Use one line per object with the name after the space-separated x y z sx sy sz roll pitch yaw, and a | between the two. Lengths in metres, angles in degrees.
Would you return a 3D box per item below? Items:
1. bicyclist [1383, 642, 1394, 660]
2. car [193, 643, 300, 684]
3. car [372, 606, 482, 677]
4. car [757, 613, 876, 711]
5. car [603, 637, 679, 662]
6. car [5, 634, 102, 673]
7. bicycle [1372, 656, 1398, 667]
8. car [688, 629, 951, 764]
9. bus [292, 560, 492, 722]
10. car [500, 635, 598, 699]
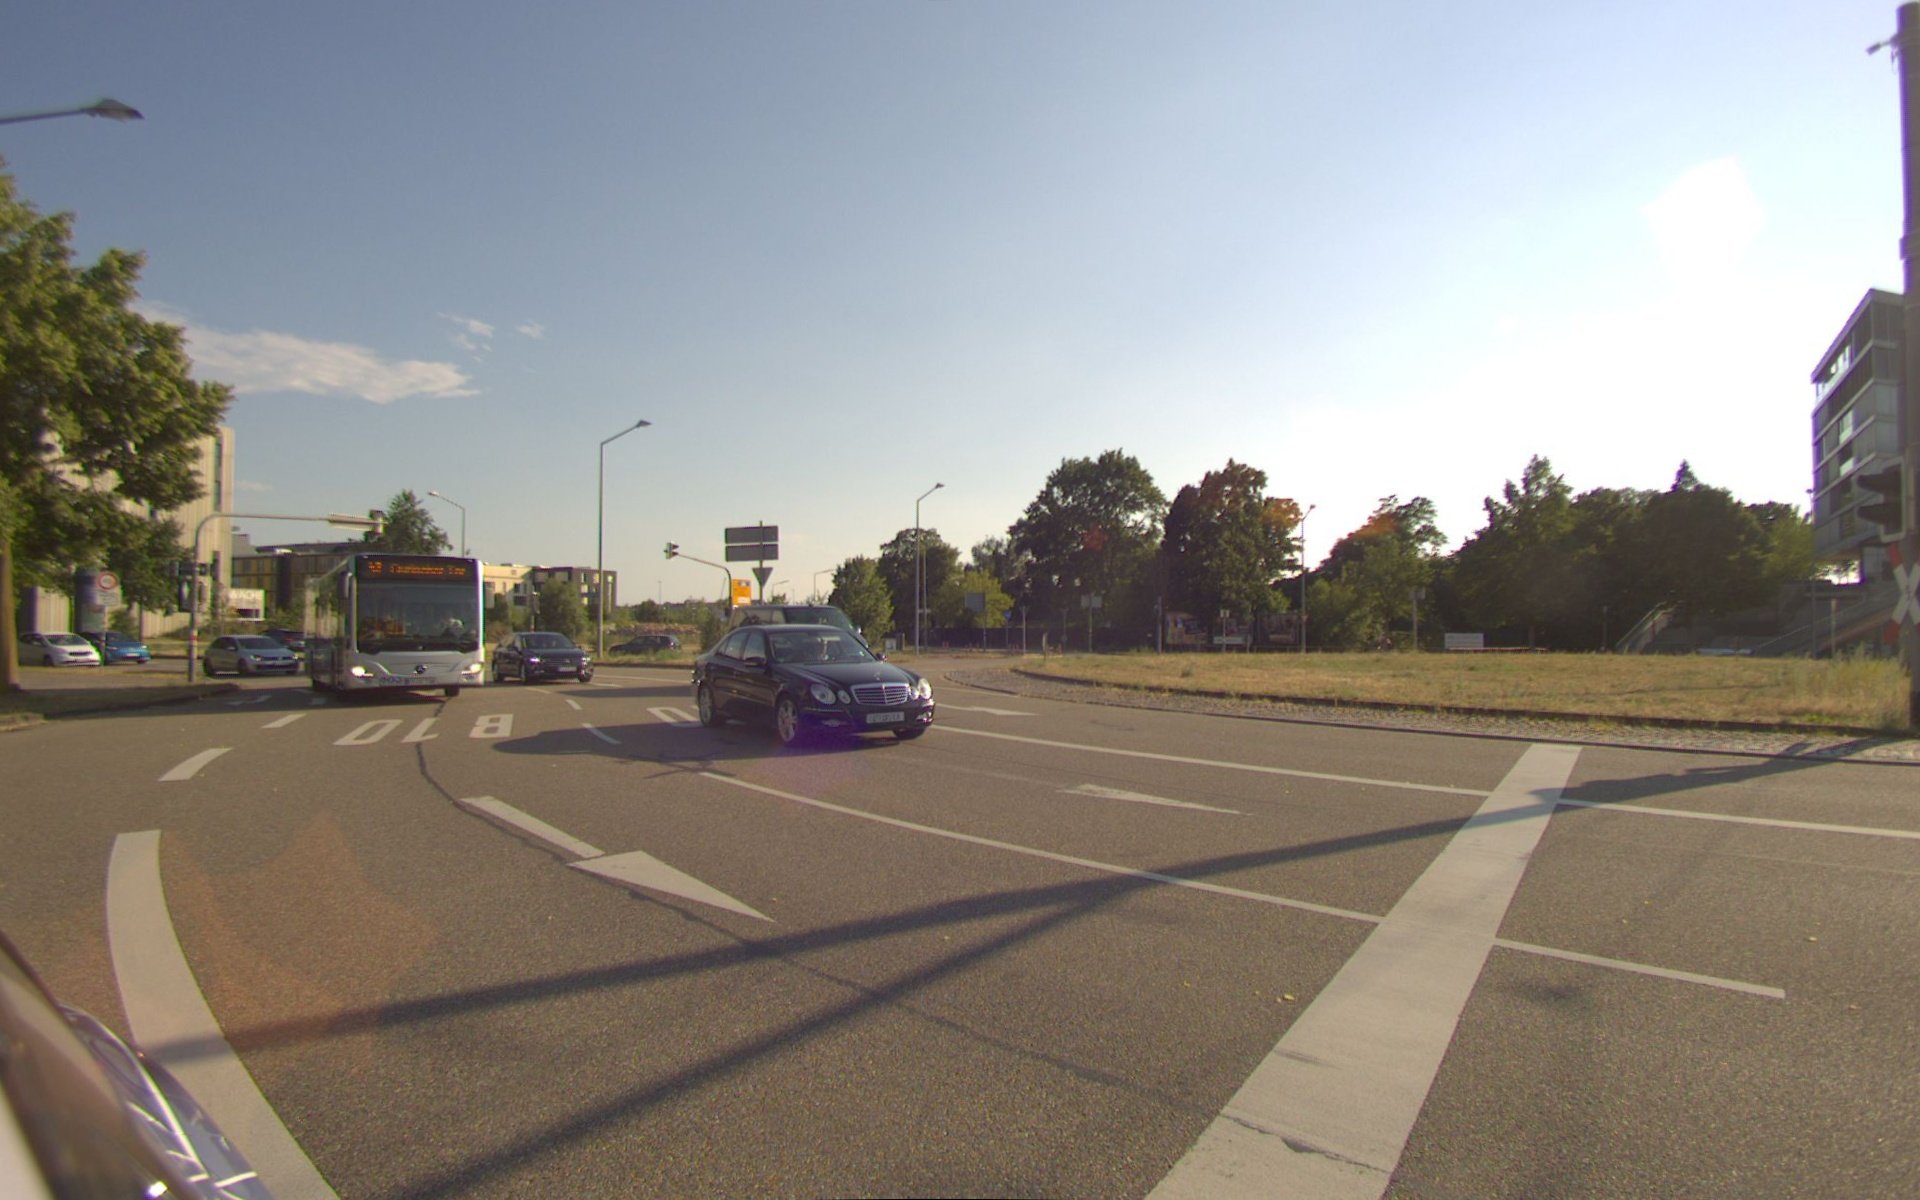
31.368 3.724 74.068 0.646 1.336 0.517 0 -2 7 | bicyclist
-25.922 2.283 36.765 3.605 1.434 1.573 -1 -2 24 | car
-20.551 1.511 38.880 5.911 2.537 1.954 -1 0 44 | car
-3.369 1.273 22.871 1.830 1.947 5.028 0 -1 -18 | car
-17.884 2.778 56.732 3.782 1.360 1.478 0 -2 5 | car
-38.626 2.259 43.122 3.601 1.574 1.574 -1 -2 21 | car
31.083 4.498 74.042 1.701 0.750 0.479 0 -2 7 | bicycle
-2.032 1.126 13.270 1.780 1.448 4.507 2 -3 -31 | car
-14.128 0.893 24.496 2.555 3.066 11.743 0 -1 -38 | bus
-11.751 1.836 28.792 1.781 1.521 4.173 0 0 -33 | car
